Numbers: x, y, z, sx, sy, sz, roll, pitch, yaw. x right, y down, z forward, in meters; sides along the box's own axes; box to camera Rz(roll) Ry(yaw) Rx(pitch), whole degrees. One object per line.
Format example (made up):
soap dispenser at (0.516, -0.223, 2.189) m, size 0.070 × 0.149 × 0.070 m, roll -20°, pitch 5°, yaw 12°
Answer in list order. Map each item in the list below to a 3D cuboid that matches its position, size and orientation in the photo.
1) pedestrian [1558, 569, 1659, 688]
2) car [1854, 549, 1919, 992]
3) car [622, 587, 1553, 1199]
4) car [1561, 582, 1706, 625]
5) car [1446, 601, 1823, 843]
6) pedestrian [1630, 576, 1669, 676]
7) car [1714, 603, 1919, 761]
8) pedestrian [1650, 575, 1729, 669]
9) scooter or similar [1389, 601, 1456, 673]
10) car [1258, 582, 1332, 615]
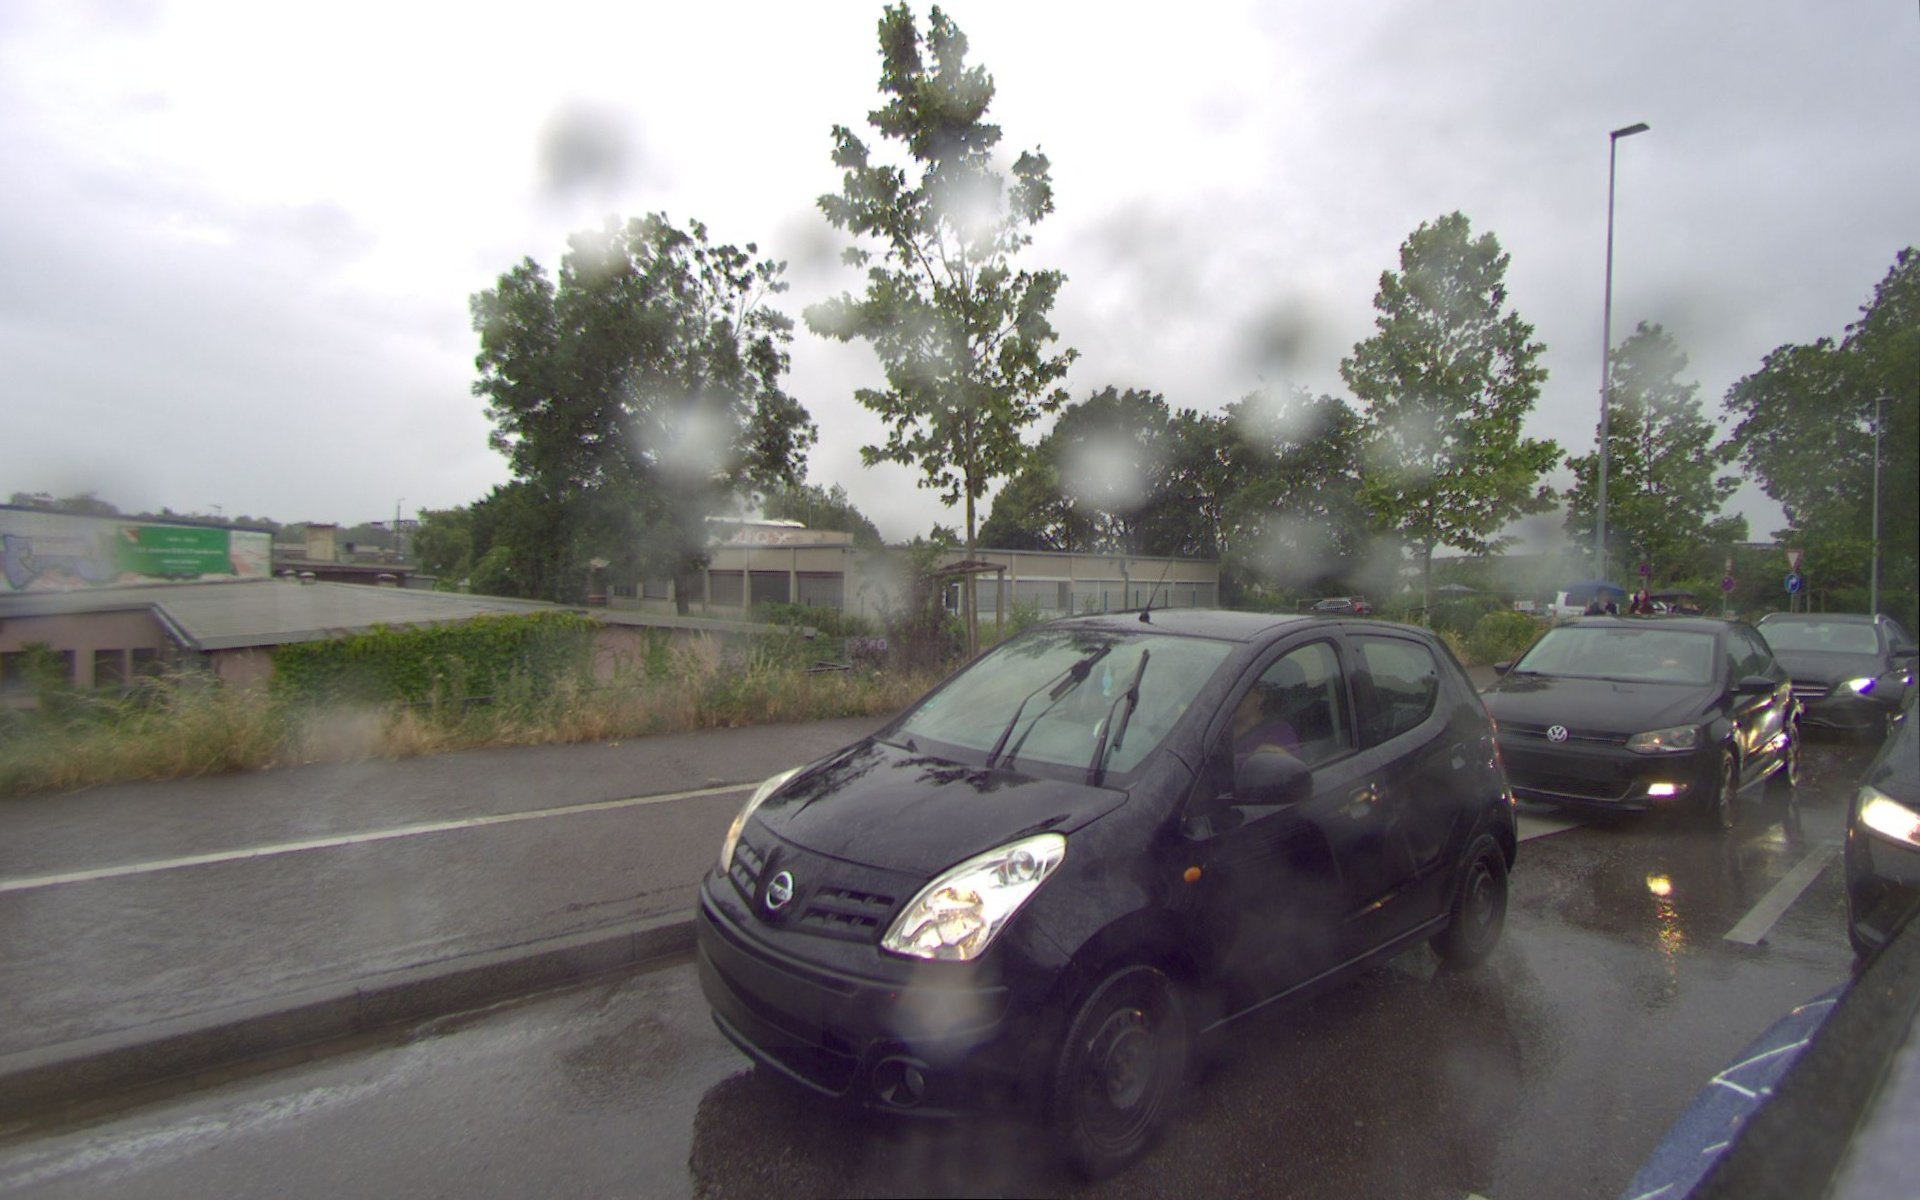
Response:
pedestrian at (10.237, 0.415, 15.981) m, size 0.953 × 1.777 × 1.081 m, roll 0°, pitch 2°, yaw -42°
car at (5.453, 0.600, 4.499) m, size 4.091 × 1.607 × 1.688 m, roll -1°, pitch 0°, yaw -41°
car at (0.759, 0.702, 3.891) m, size 3.561 × 1.447 × 1.631 m, roll 0°, pitch 0°, yaw -42°
car at (28.171, 0.121, 42.419) m, size 1.966 × 1.670 × 4.752 m, roll -1°, pitch 1°, yaw -42°
car at (5.387, 0.747, 7.921) m, size 3.561 × 1.447 × 1.631 m, roll 0°, pitch 0°, yaw -42°
pedestrian at (11.924, 0.440, 17.509) m, size 0.433 × 1.682 × 0.400 m, roll 0°, pitch 3°, yaw -42°
car at (10.820, 0.865, 12.470) m, size 3.747 × 1.594 × 1.697 m, roll -1°, pitch 0°, yaw -41°
pedestrian at (14.218, 0.396, 19.735) m, size 0.876 × 1.729 × 1.024 m, roll 0°, pitch 3°, yaw -41°
scooter or similar at (7.900, 0.602, 17.250) m, size 1.747 × 1.144 × 0.380 m, roll -1°, pitch 2°, yaw -43°
car at (20.999, -0.106, 63.479) m, size 1.964 × 2.039 × 3.996 m, roll 0°, pitch 0°, yaw -38°
